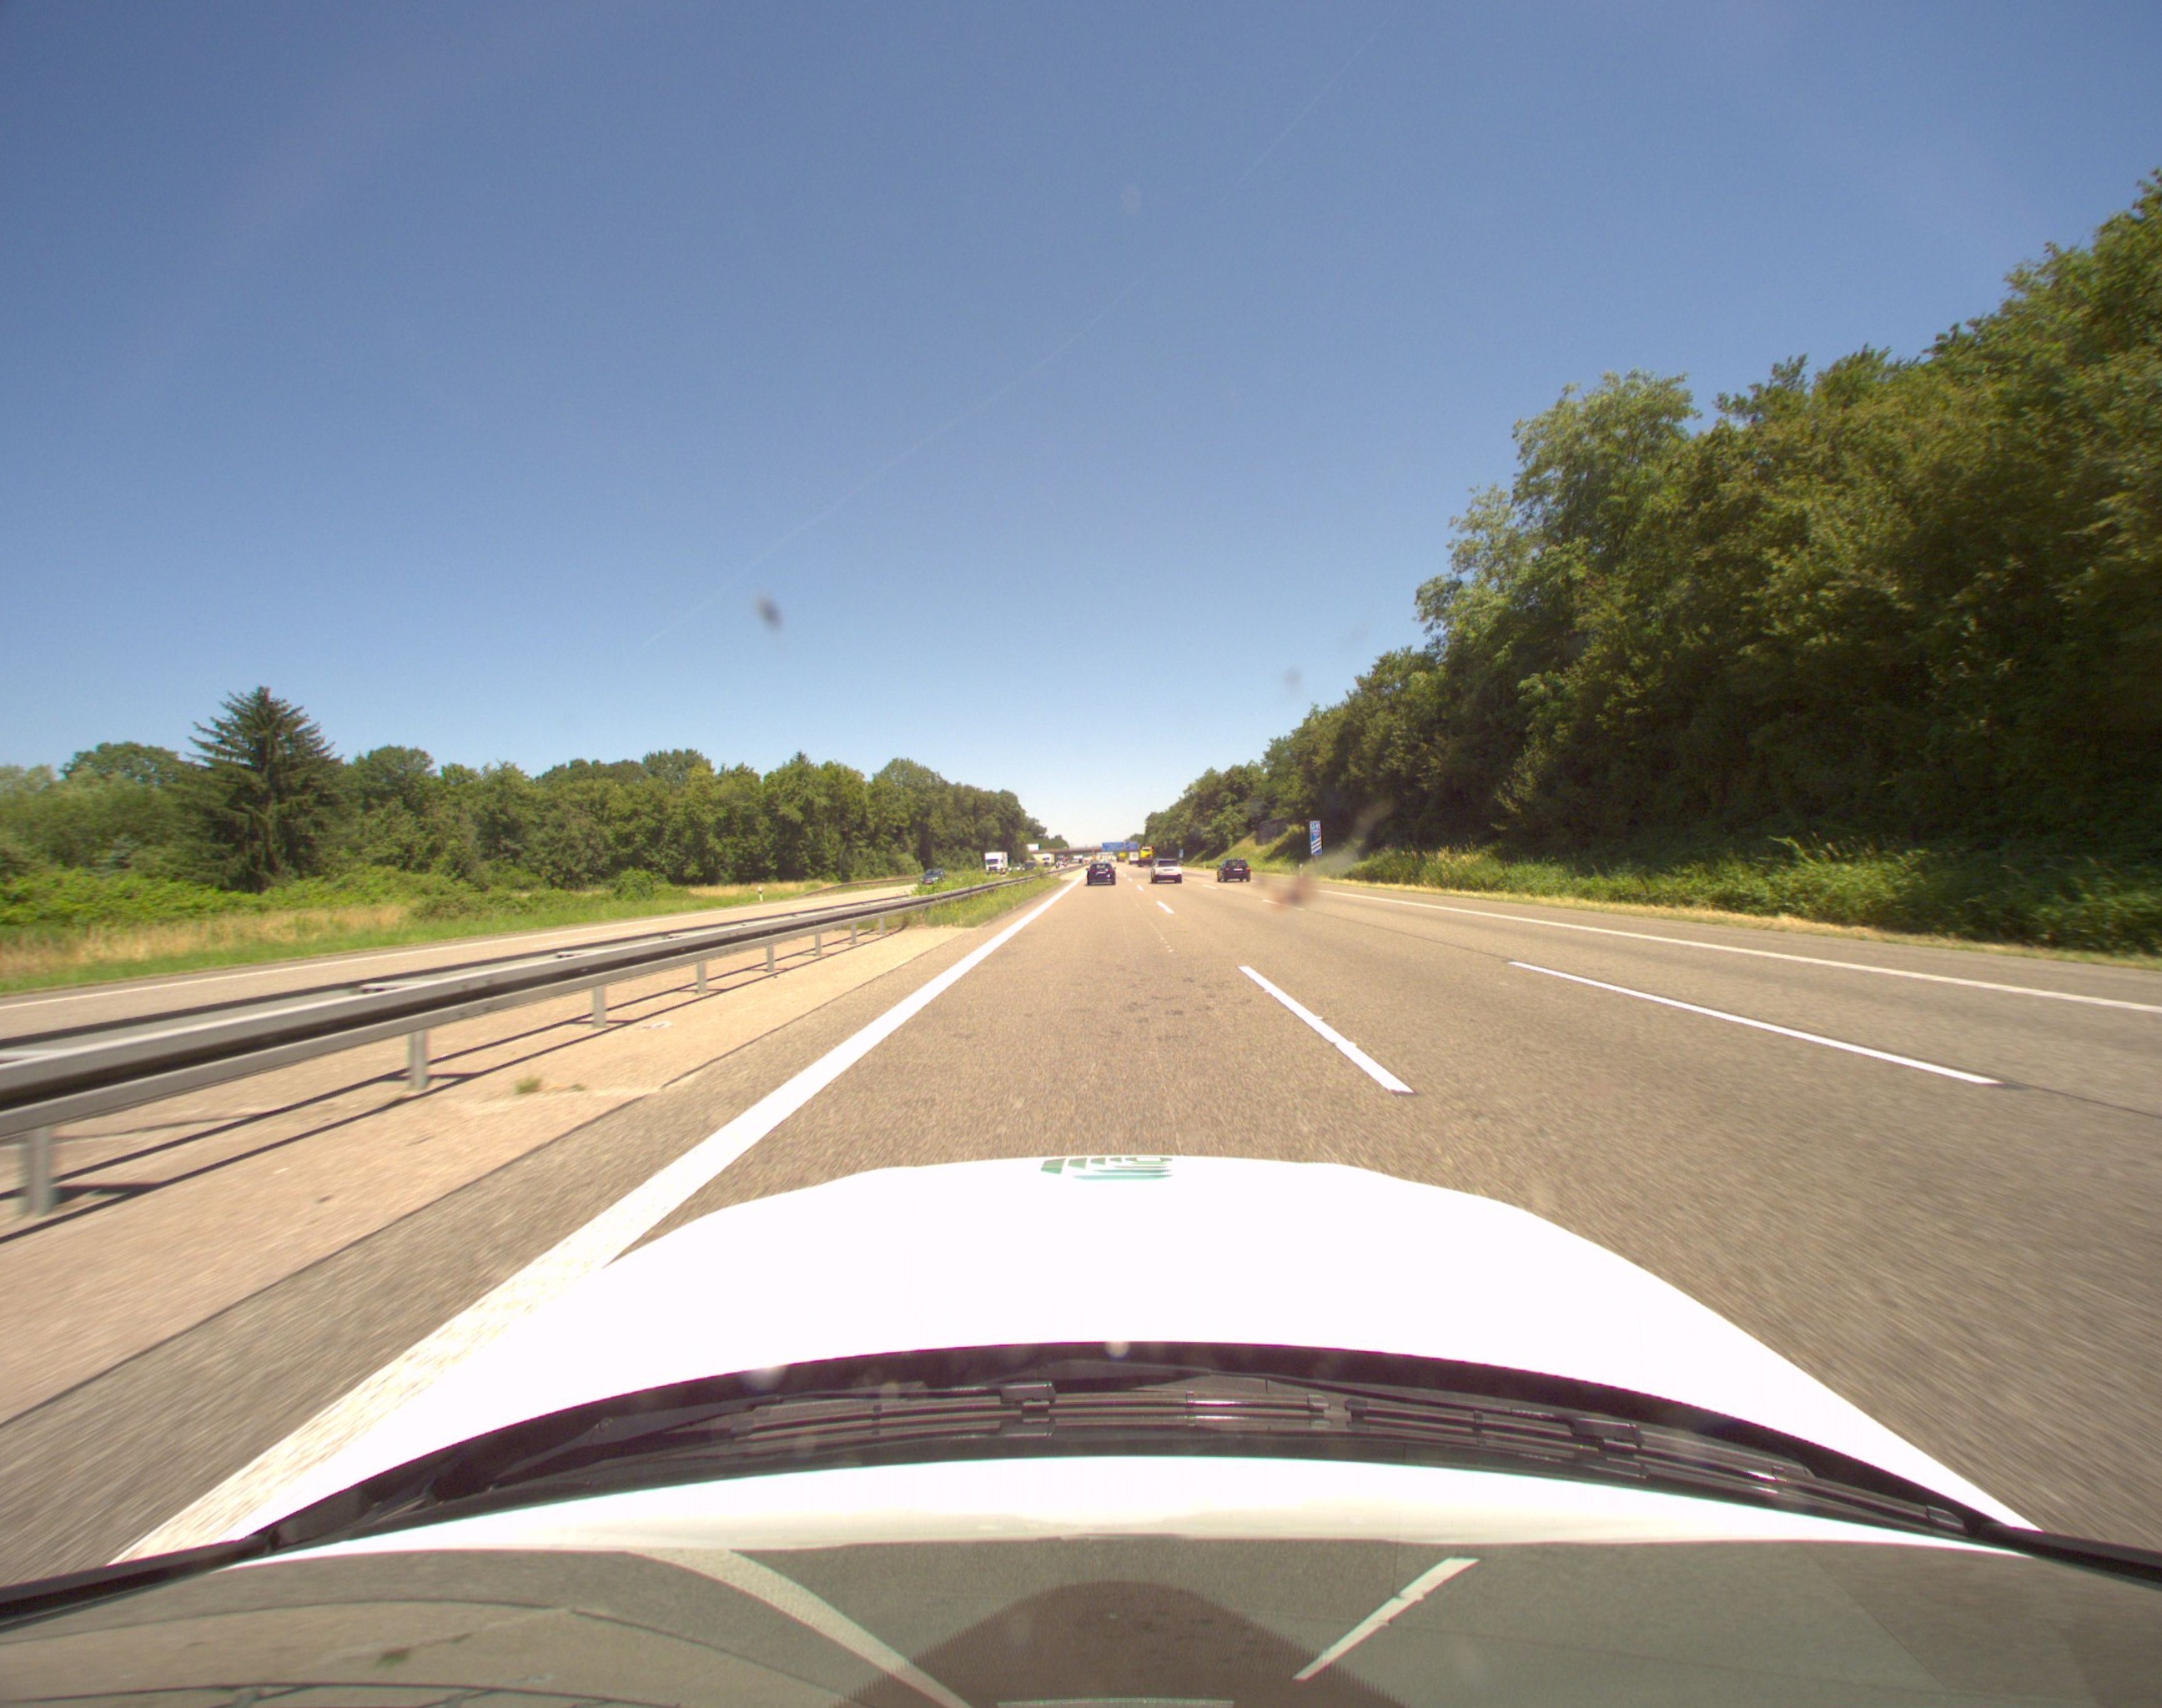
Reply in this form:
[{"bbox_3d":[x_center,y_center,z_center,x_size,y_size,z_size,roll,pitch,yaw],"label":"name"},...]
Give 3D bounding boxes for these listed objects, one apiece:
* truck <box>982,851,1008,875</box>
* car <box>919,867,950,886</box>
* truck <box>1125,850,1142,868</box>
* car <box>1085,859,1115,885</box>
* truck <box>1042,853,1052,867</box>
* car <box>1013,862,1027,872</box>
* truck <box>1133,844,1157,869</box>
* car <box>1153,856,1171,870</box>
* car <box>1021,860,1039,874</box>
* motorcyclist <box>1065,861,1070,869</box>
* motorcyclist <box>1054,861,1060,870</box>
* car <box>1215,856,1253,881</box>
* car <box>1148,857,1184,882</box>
[{"bbox_3d":[-14.069,1.420,134.258,2.786,3.632,10.697,-3,-1,1],"label":"truck"},{"bbox_3d":[-12.938,1.942,71.971,1.793,1.532,4.678,-1,0,1],"label":"car"},{"bbox_3d":[14.149,1.423,221.555,3.635,4.590,17.247,-1,-1,1],"label":"truck"},{"bbox_3d":[1.177,1.088,51.148,1.793,1.502,4.241,-1,0,1],"label":"car"},{"bbox_3d":[-10.572,1.922,252.430,2.745,4.408,12.646,-1,-1,0],"label":"truck"},{"bbox_3d":[-9.276,1.996,124.471,1.793,1.532,4.241,-1,0,0],"label":"car"},{"bbox_3d":[12.224,0.605,157.464,3.635,4.590,15.766,-1,-1,1],"label":"truck"},{"bbox_3d":[11.107,1.272,111.879,2.069,1.751,4.241,-3,-1,1],"label":"car"},{"bbox_3d":[-6.408,1.576,102.243,1.793,1.696,4.242,-1,0,1],"label":"car"},{"bbox_3d":[-3.244,2.505,192.644,1.148,1.815,1.027,-2,-1,1],"label":"motorcyclist"},{"bbox_3d":[-4.800,2.287,162.917,1.148,1.815,1.027,-2,-1,1],"label":"motorcyclist"},{"bbox_3d":[9.585,0.896,51.109,1.782,1.461,3.951,-1,0,2],"label":"car"},{"bbox_3d":[5.379,0.961,52.072,1.893,1.532,4.241,-1,0,1],"label":"car"}]
